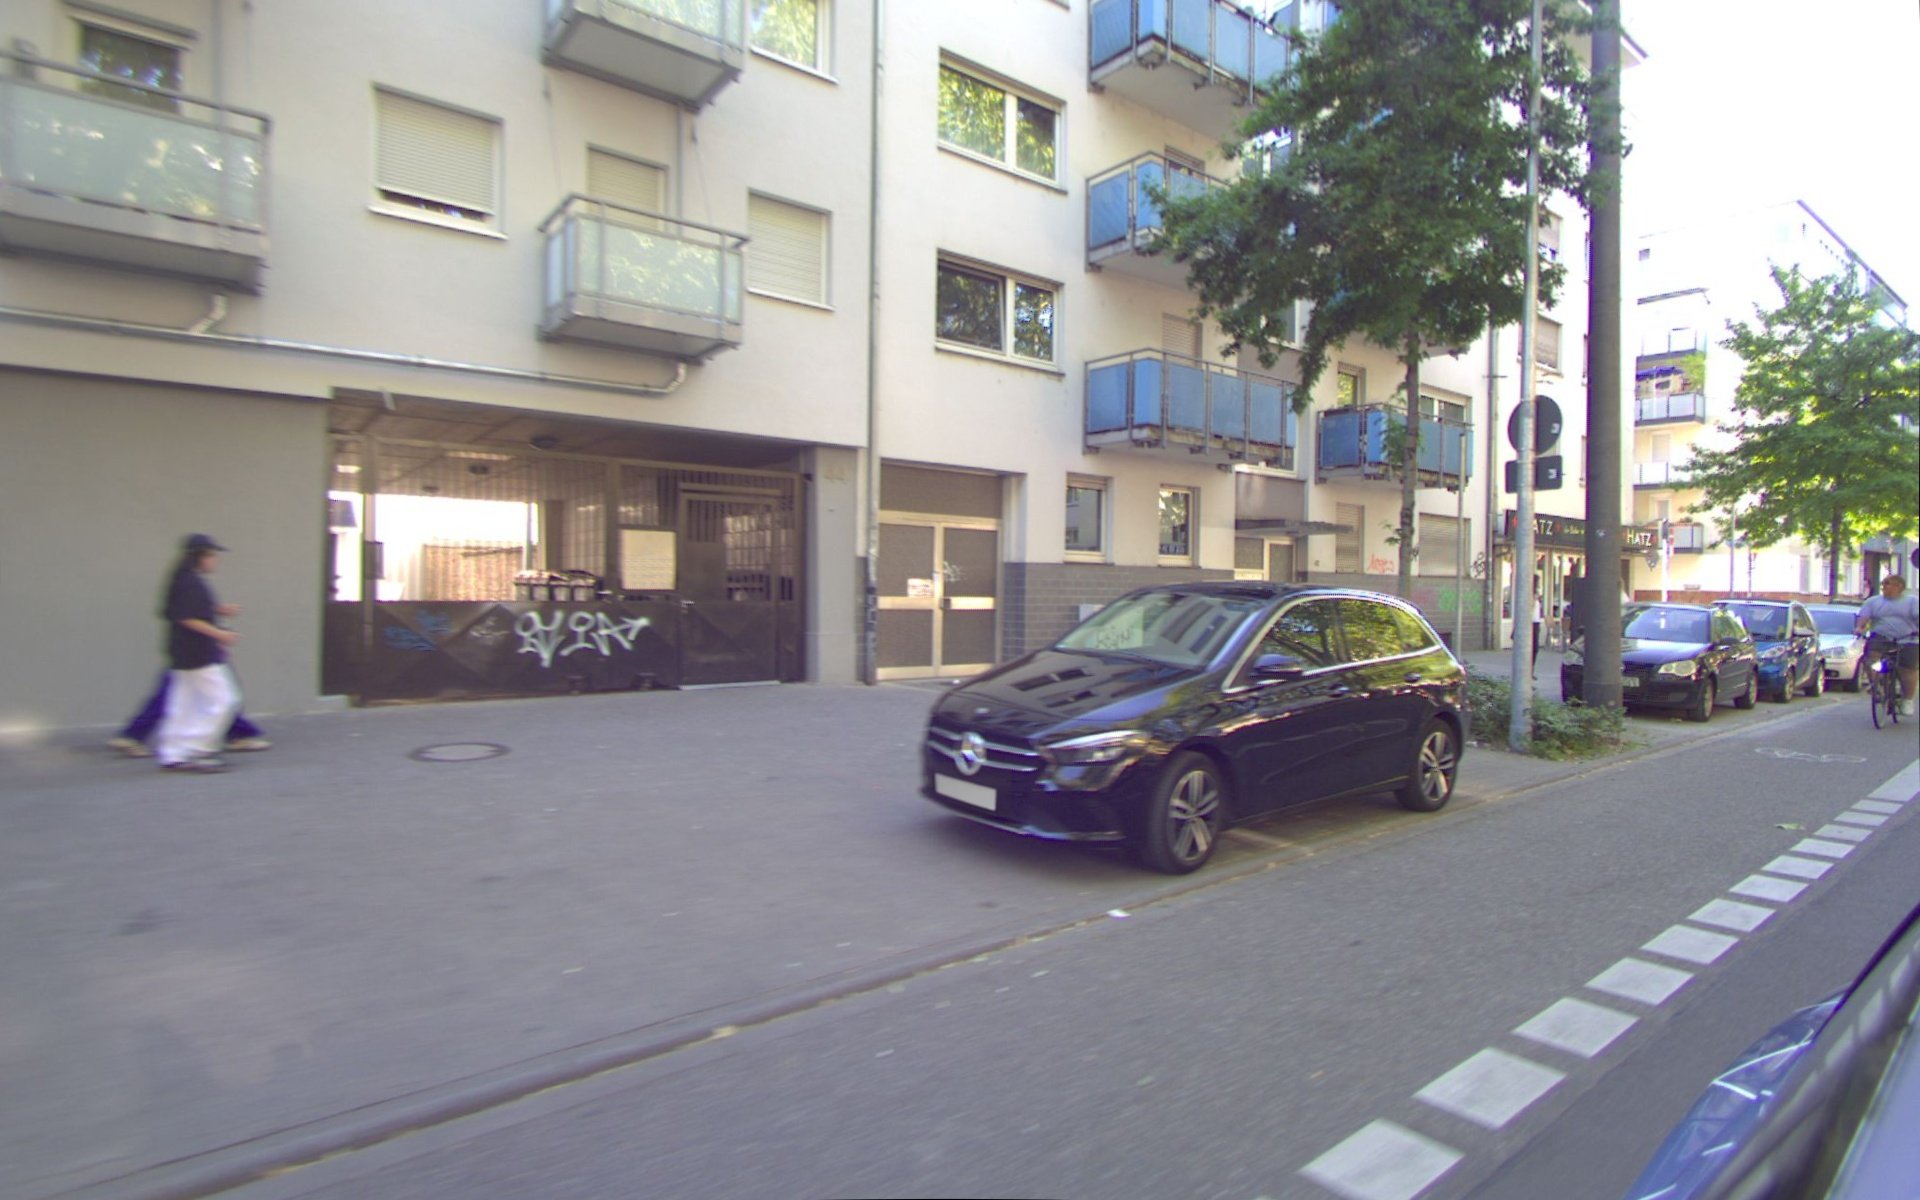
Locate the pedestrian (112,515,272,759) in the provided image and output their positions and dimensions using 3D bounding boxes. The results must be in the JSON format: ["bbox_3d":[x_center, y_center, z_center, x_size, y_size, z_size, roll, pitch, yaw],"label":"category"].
[{"bbox_3d":[-5.736,0.241,7.566,0.918,1.698,0.597,0,3,-41],"label":"pedestrian"}]

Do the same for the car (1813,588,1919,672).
[{"bbox_3d":[20.379,0.583,22.382,4.187,1.590,1.723,-1,4,-42],"label":"car"}]

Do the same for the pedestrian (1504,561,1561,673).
[{"bbox_3d":[9.770,0.284,17.276,0.650,1.875,0.540,0,0,-8],"label":"pedestrian"}]

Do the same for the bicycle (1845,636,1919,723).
[{"bbox_3d":[11.868,0.966,12.708,1.904,0.949,0.790,-1,0,-38],"label":"bicycle"}]

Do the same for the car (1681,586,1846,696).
[{"bbox_3d":[12.919,0.589,16.244,2.829,1.556,1.448,0,2,-39],"label":"car"}]

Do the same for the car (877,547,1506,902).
[{"bbox_3d":[1.727,0.540,6.741,4.250,1.606,1.764,0,4,-39],"label":"car"}]

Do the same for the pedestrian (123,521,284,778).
[{"bbox_3d":[-5.258,0.306,7.034,0.854,1.658,0.643,0,2,-40],"label":"pedestrian"}]

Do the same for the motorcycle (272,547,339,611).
[{"bbox_3d":[-12.005,-0.367,18.537,0.704,1.091,2.413,0,0,-41],"label":"motorcycle"}]

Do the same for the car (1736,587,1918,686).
[{"bbox_3d":[16.023,0.595,18.641,4.053,1.556,1.791,0,3,-39],"label":"car"}]

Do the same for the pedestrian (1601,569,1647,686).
[{"bbox_3d":[10.911,0.433,16.635,0.652,1.875,0.476,0,0,-41],"label":"pedestrian"}]

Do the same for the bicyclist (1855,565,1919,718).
[{"bbox_3d":[11.925,0.502,12.755,1.079,1.854,0.769,0,0,-38],"label":"bicyclist"}]

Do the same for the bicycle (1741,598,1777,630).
[{"bbox_3d":[30.233,0.504,38.286,1.959,1.166,0.616,-1,1,-39],"label":"bicycle"}]

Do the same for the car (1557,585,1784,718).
[{"bbox_3d":[9.787,0.595,13.842,3.822,1.500,1.626,0,3,-41],"label":"car"}]
